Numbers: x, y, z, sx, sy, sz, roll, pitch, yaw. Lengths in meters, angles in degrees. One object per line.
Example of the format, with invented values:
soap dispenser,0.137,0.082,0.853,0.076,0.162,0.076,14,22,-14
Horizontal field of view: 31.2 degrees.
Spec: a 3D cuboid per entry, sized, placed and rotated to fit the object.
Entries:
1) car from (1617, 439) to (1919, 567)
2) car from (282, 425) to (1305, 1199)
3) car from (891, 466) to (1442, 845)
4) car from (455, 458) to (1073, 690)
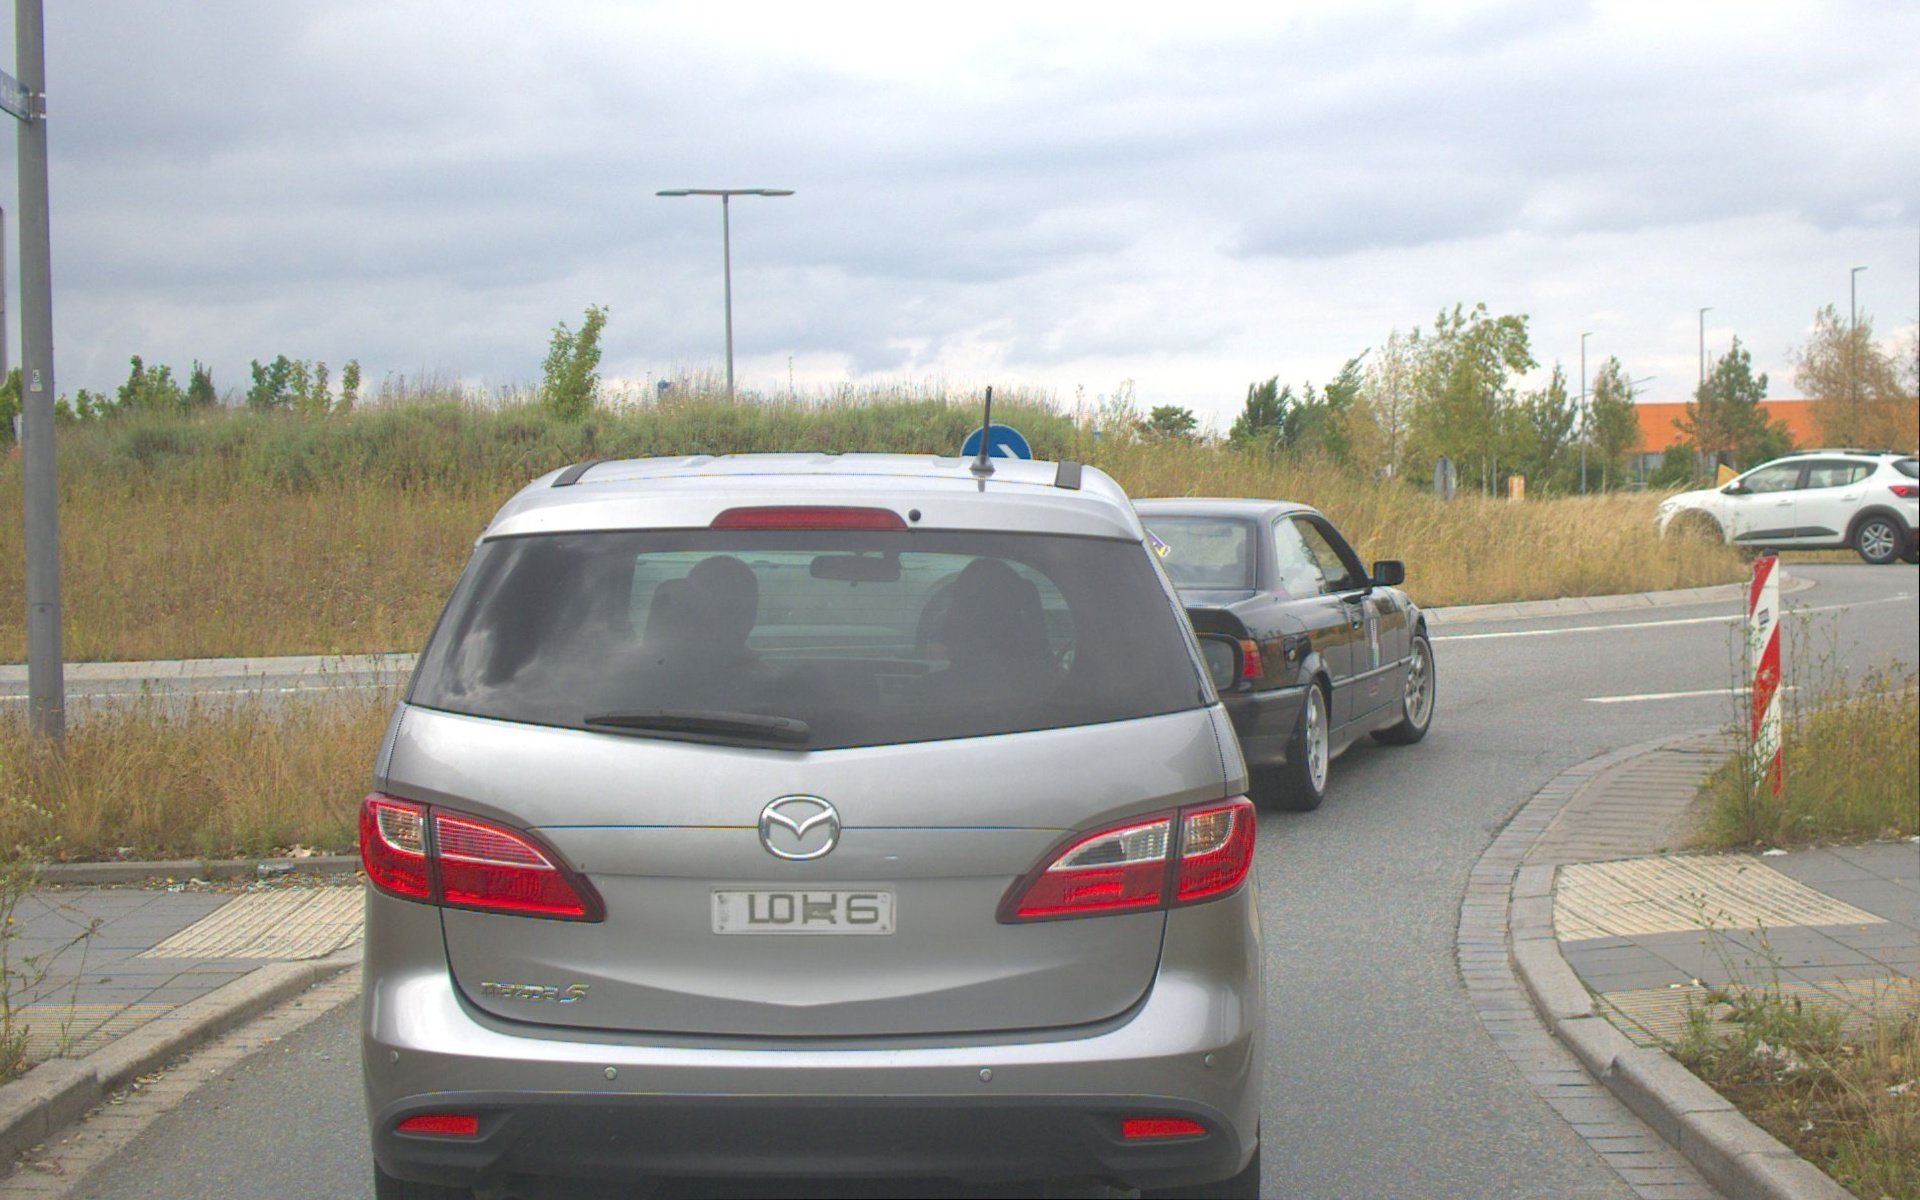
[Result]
car,11.469,-1.336,47.412,4.334,1.642,1.867,0,4,32
car,-0.296,0.443,7.894,1.738,1.593,3.998,1,2,0
car,1.096,0.144,16.065,1.739,1.398,3.995,1,4,16
car,-1.373,-0.162,23.153,3.986,1.459,1.814,1,0,-9
